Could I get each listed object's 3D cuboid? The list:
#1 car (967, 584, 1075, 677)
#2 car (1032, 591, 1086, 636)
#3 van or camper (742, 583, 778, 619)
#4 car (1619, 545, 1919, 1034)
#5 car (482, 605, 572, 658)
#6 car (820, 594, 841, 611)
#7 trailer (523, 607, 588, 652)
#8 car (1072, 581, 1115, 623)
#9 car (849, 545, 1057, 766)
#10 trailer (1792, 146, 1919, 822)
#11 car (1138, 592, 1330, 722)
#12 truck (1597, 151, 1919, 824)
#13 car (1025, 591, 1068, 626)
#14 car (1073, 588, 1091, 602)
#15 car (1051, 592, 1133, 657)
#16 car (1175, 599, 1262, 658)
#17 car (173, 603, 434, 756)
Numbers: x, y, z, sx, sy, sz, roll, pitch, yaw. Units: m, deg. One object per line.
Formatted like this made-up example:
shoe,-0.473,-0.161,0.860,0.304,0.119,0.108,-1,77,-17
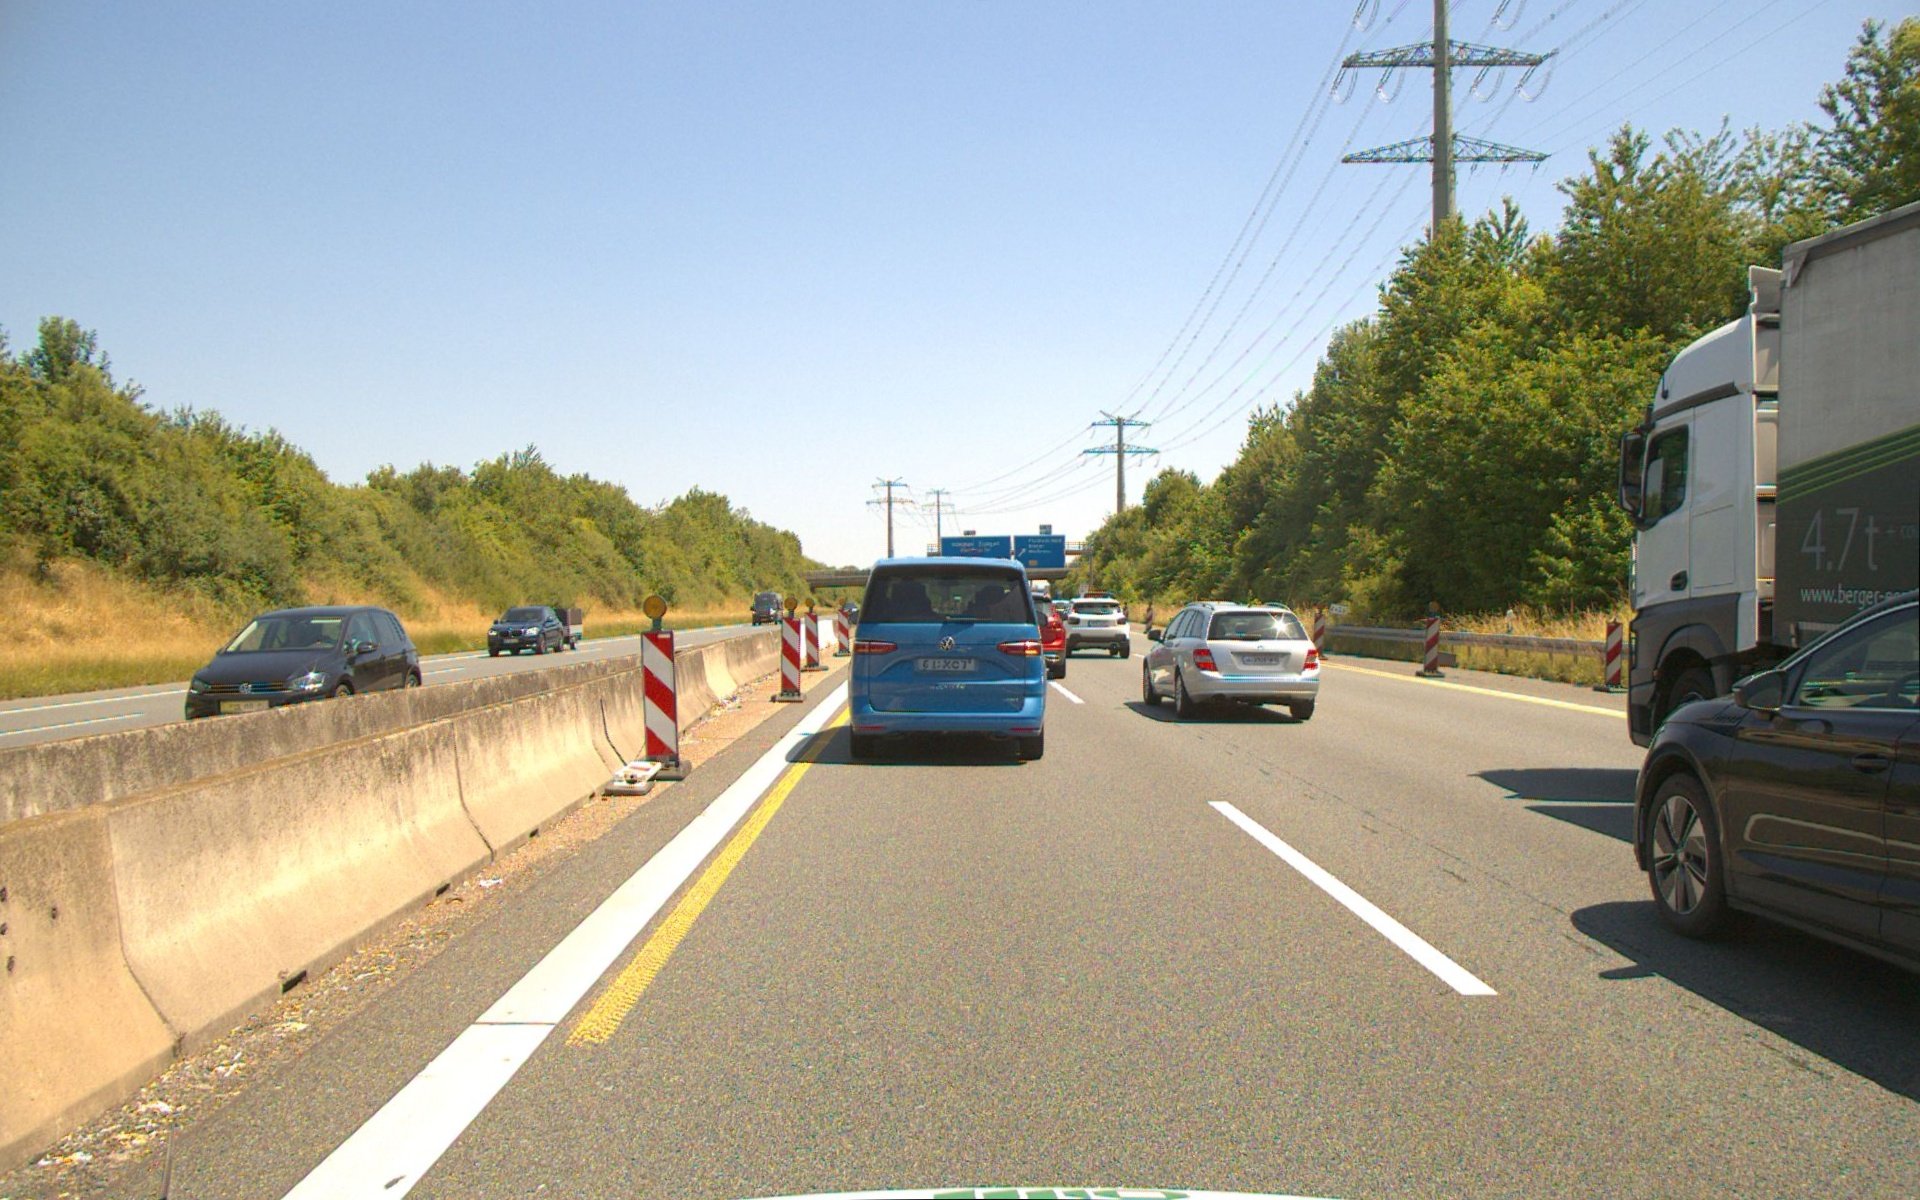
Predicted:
car,1.130,0.572,32.782,1.837,1.700,4.358,1,0,-2
car,3.749,0.495,63.211,1.761,1.622,4.226,1,0,-1
van or camper,-16.427,0.109,136.204,2.178,2.758,7.078,-3,0,-2
car,4.139,0.666,5.930,1.666,1.684,4.428,1,0,-2
car,-15.306,1.076,58.690,1.953,1.678,4.629,-3,0,-1
car,-13.780,0.283,176.064,1.953,1.713,4.152,-3,0,-1
trailer,-15.337,1.099,62.913,1.537,1.579,3.778,-2,0,-1
car,6.751,0.122,83.803,1.761,2.049,4.226,1,0,-1
car,-0.120,0.507,16.963,1.837,1.945,4.358,1,0,-2
trailer,7.268,-0.708,4.999,2.726,4.118,13.109,1,0,-1
car,3.568,0.700,22.293,1.735,1.544,4.358,1,0,-2
truck,7.169,-0.665,12.106,2.677,4.118,5.792,1,0,-1
car,4.196,0.421,80.719,1.761,1.622,4.226,1,0,-1
car,15.057,-0.580,204.124,1.837,1.700,4.358,1,0,-2
car,3.489,0.638,44.361,1.761,1.622,4.226,1,0,-1
car,6.860,0.731,44.174,1.666,1.473,3.787,1,0,-1
car,-8.191,0.918,21.060,1.737,1.729,4.169,1,0,-2
